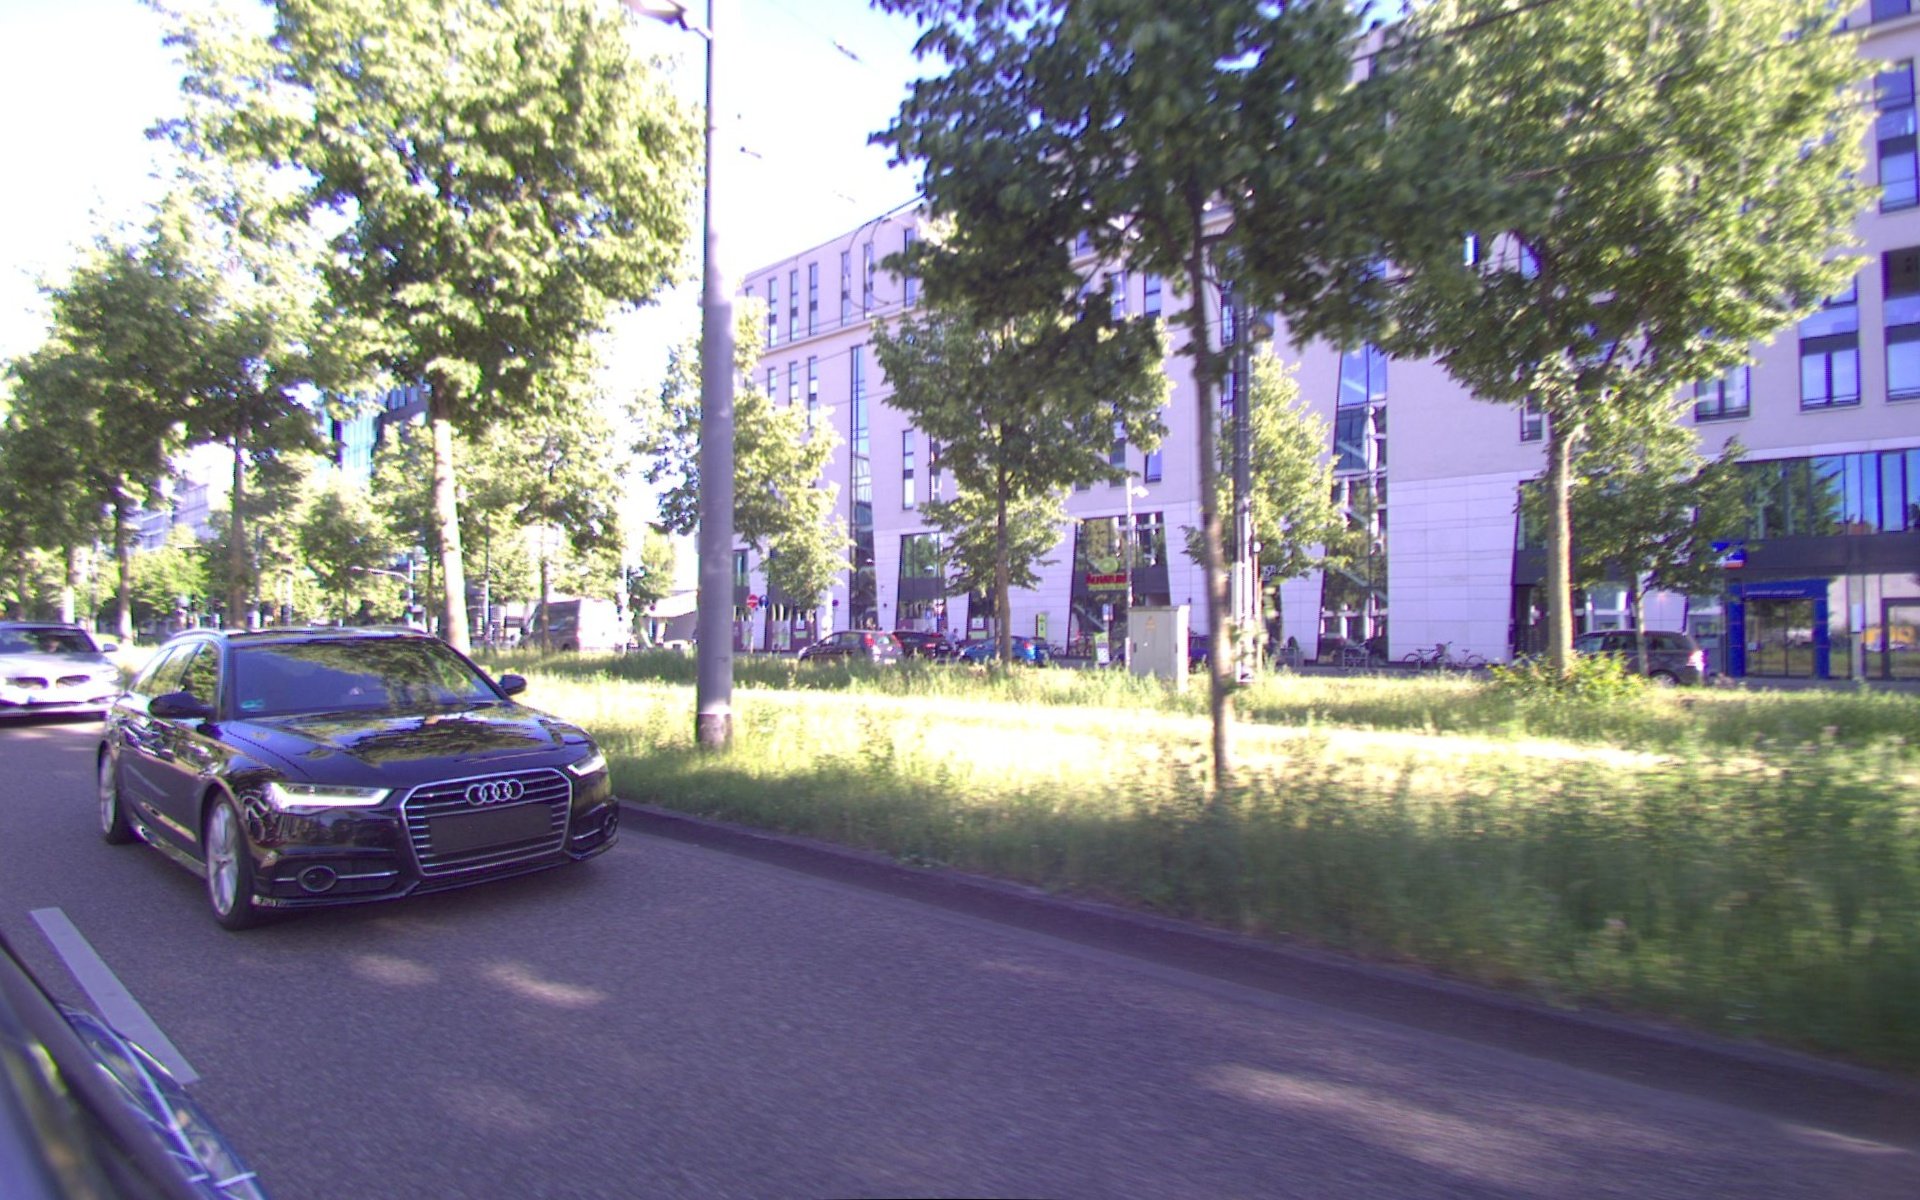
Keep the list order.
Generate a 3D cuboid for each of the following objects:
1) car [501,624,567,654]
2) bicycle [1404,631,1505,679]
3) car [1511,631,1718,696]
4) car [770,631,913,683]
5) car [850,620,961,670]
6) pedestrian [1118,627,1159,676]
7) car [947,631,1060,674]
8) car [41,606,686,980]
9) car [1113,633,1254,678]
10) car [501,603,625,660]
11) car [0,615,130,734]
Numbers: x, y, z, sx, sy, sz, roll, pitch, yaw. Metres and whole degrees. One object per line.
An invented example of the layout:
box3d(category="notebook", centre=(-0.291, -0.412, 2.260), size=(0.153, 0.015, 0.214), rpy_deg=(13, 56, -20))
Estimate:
box3d(category="car", centre=(-27.398, 2.461, 65.066), size=(4.416, 1.822, 2.079), rpy_deg=(-1, 0, 39))
box3d(category="bicycle", centre=(16.935, 1.848, 34.745), size=(3.034, 1.557, 0.611), rpy_deg=(-1, -1, 44))
box3d(category="car", centre=(16.504, 1.550, 25.632), size=(4.266, 1.491, 1.543), rpy_deg=(-2, -2, 39))
box3d(category="car", centre=(-3.782, 1.758, 31.994), size=(4.452, 1.452, 1.973), rpy_deg=(-1, 0, 40))
box3d(category="car", centre=(-2.332, 1.876, 42.627), size=(4.549, 2.029, 1.974), rpy_deg=(-2, -3, 39))
box3d(category="pedestrian", centre=(6.689, 1.915, 37.950), size=(1.222, 1.756, 0.834), rpy_deg=(-1, -1, 42))
box3d(category="car", centre=(1.650, 1.998, 39.116), size=(3.998, 1.584, 1.972), rpy_deg=(-2, -2, 41))
box3d(category="car", centre=(-4.067, 0.886, 6.438), size=(5.080, 1.492, 1.933), rpy_deg=(-3, -3, 40))
box3d(category="car", centre=(7.452, 1.841, 34.032), size=(4.331, 1.424, 1.706), rpy_deg=(-2, -3, 38))
box3d(category="car", centre=(-18.031, 1.371, 45.836), size=(6.018, 2.399, 2.482), rpy_deg=(-1, 0, 37))
box3d(category="car", centre=(-14.272, 1.047, 15.445), size=(4.276, 1.590, 1.862), rpy_deg=(-1, 0, 42))
